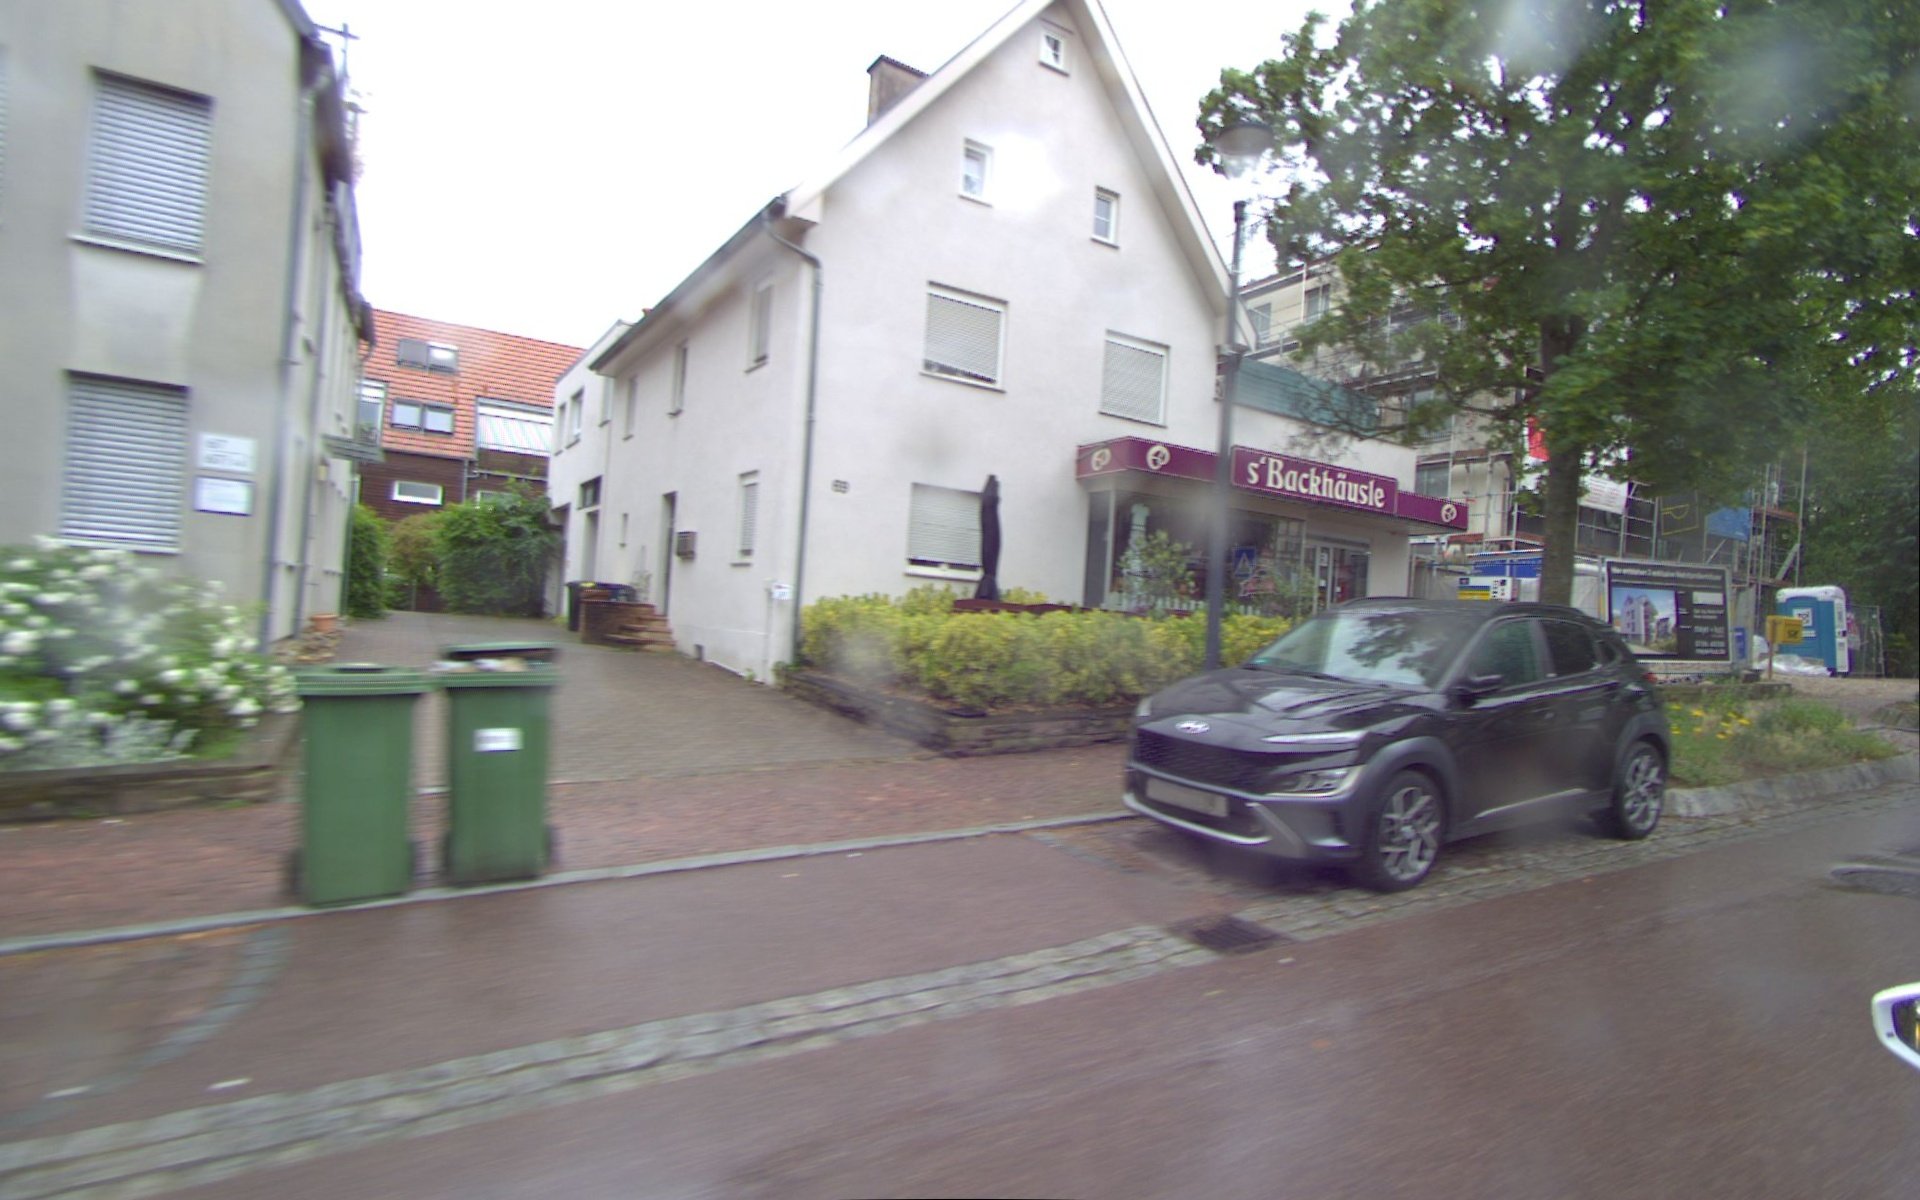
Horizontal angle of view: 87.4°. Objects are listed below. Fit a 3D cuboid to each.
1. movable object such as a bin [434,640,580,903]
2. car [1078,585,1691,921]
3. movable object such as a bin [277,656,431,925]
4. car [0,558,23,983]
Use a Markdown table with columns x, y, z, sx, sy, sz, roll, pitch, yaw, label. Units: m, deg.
| x | y | z | sx | sy | sz | roll | pitch | yaw | label |
| --- | --- | --- | --- | --- | --- | --- | --- | --- | --- |
| -2.306 | 0.819 | 5.095 | 0.611 | 1.193 | 0.579 | 0 | 1 | -31 | movable object such as a bin |
| 2.902 | 0.759 | 6.668 | 3.956 | 1.574 | 1.761 | 1 | 2 | -32 | car |
| -2.838 | 0.846 | 4.729 | 0.588 | 1.114 | 0.550 | 0 | 1 | -31 | movable object such as a bin |
| -4.873 | 0.605 | 2.187 | 3.818 | 1.554 | 1.640 | 1 | 1 | -29 | car |
